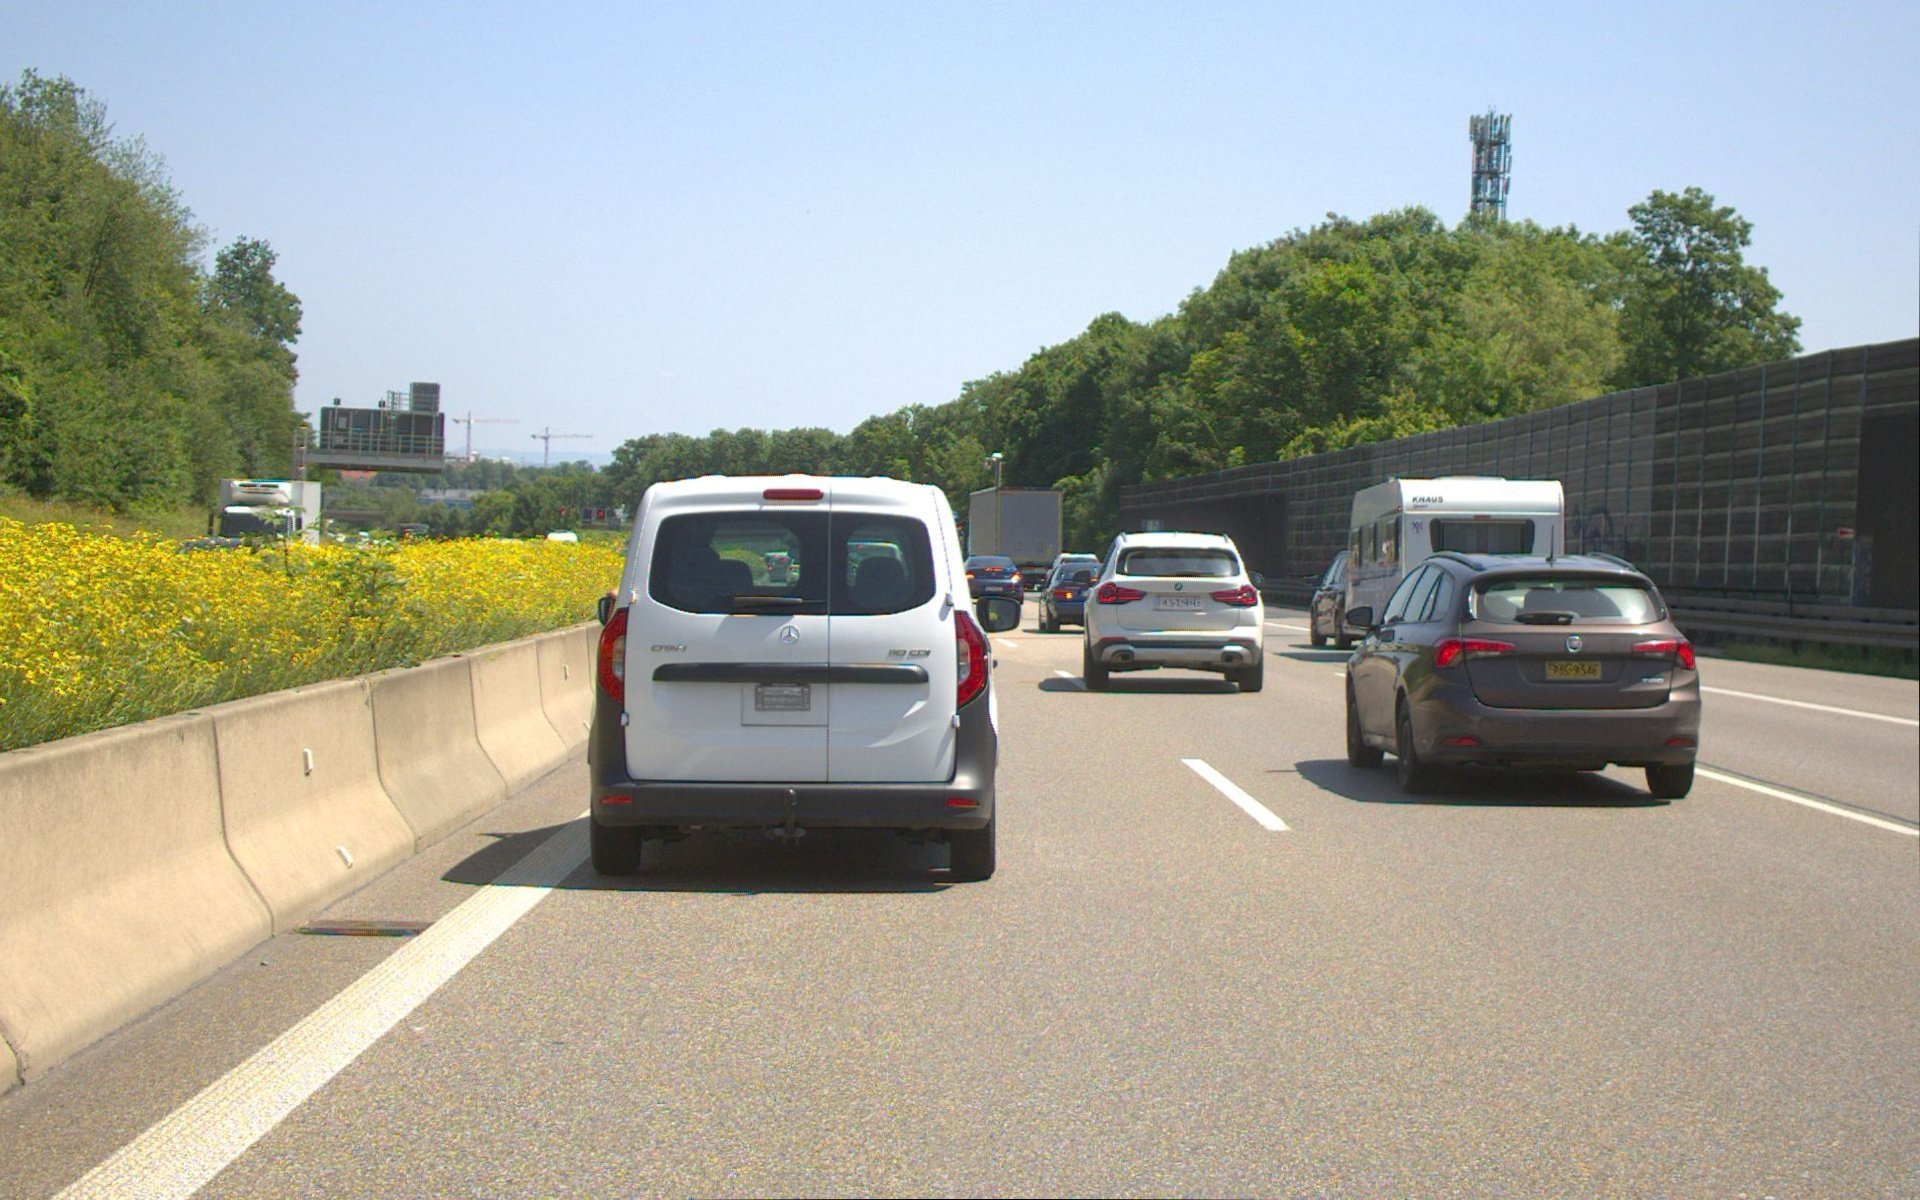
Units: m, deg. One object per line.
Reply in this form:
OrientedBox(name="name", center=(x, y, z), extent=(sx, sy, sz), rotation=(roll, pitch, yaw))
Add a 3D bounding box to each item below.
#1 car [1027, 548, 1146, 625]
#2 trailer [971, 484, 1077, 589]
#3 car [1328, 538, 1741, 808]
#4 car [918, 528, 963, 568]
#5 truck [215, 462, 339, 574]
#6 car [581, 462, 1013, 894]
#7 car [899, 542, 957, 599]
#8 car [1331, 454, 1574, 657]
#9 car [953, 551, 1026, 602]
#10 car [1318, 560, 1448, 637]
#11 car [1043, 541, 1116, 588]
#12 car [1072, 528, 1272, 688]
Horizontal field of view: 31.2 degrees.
OrientedBox(name="car", center=(2.429, -0.281, 66.869), extent=(1.824, 1.419, 4.001), rotation=(1, 1, -5))
OrientedBox(name="trailer", center=(2.469, -2.487, 136.549), extent=(3.081, 3.972, 10.325), rotation=(1, 1, -5))
OrientedBox(name="car", center=(3.573, 0.385, 22.173), extent=(1.838, 1.508, 4.402), rotation=(1, 1, -1))
OrientedBox(name="car", center=(-1.015, -2.650, 175.104), extent=(1.993, 2.007, 4.001), rotation=(1, 1, -5))
OrientedBox(name="truck", center=(-22.233, -2.648, 112.220), extent=(2.735, 3.463, 7.315), rotation=(1, 1, -2))
OrientedBox(name="car", center=(-0.712, 0.302, 16.536), extent=(1.802, 1.802, 4.000), rotation=(1, 1, -1))
OrientedBox(name="car", center=(-1.211, -1.120, 128.313), extent=(1.824, 1.982, 4.001), rotation=(2, 1, -5))
OrientedBox(name="car", center=(7.101, -0.647, 50.366), extent=(2.478, 2.756, 6.220), rotation=(1, 1, -1))
OrientedBox(name="car", center=(0.830, -0.684, 99.220), extent=(1.824, 1.419, 4.001), rotation=(1, 1, -3))
OrientedBox(name="car", center=(8.195, -0.056, 66.964), extent=(1.824, 1.419, 4.001), rotation=(1, 1, -3))
OrientedBox(name="car", center=(3.842, -1.161, 111.184), extent=(1.824, 1.419, 4.001), rotation=(2, 1, -5))
OrientedBox(name="car", center=(2.256, 0.045, 37.508), extent=(1.871, 1.603, 3.879), rotation=(1, 1, -1))
